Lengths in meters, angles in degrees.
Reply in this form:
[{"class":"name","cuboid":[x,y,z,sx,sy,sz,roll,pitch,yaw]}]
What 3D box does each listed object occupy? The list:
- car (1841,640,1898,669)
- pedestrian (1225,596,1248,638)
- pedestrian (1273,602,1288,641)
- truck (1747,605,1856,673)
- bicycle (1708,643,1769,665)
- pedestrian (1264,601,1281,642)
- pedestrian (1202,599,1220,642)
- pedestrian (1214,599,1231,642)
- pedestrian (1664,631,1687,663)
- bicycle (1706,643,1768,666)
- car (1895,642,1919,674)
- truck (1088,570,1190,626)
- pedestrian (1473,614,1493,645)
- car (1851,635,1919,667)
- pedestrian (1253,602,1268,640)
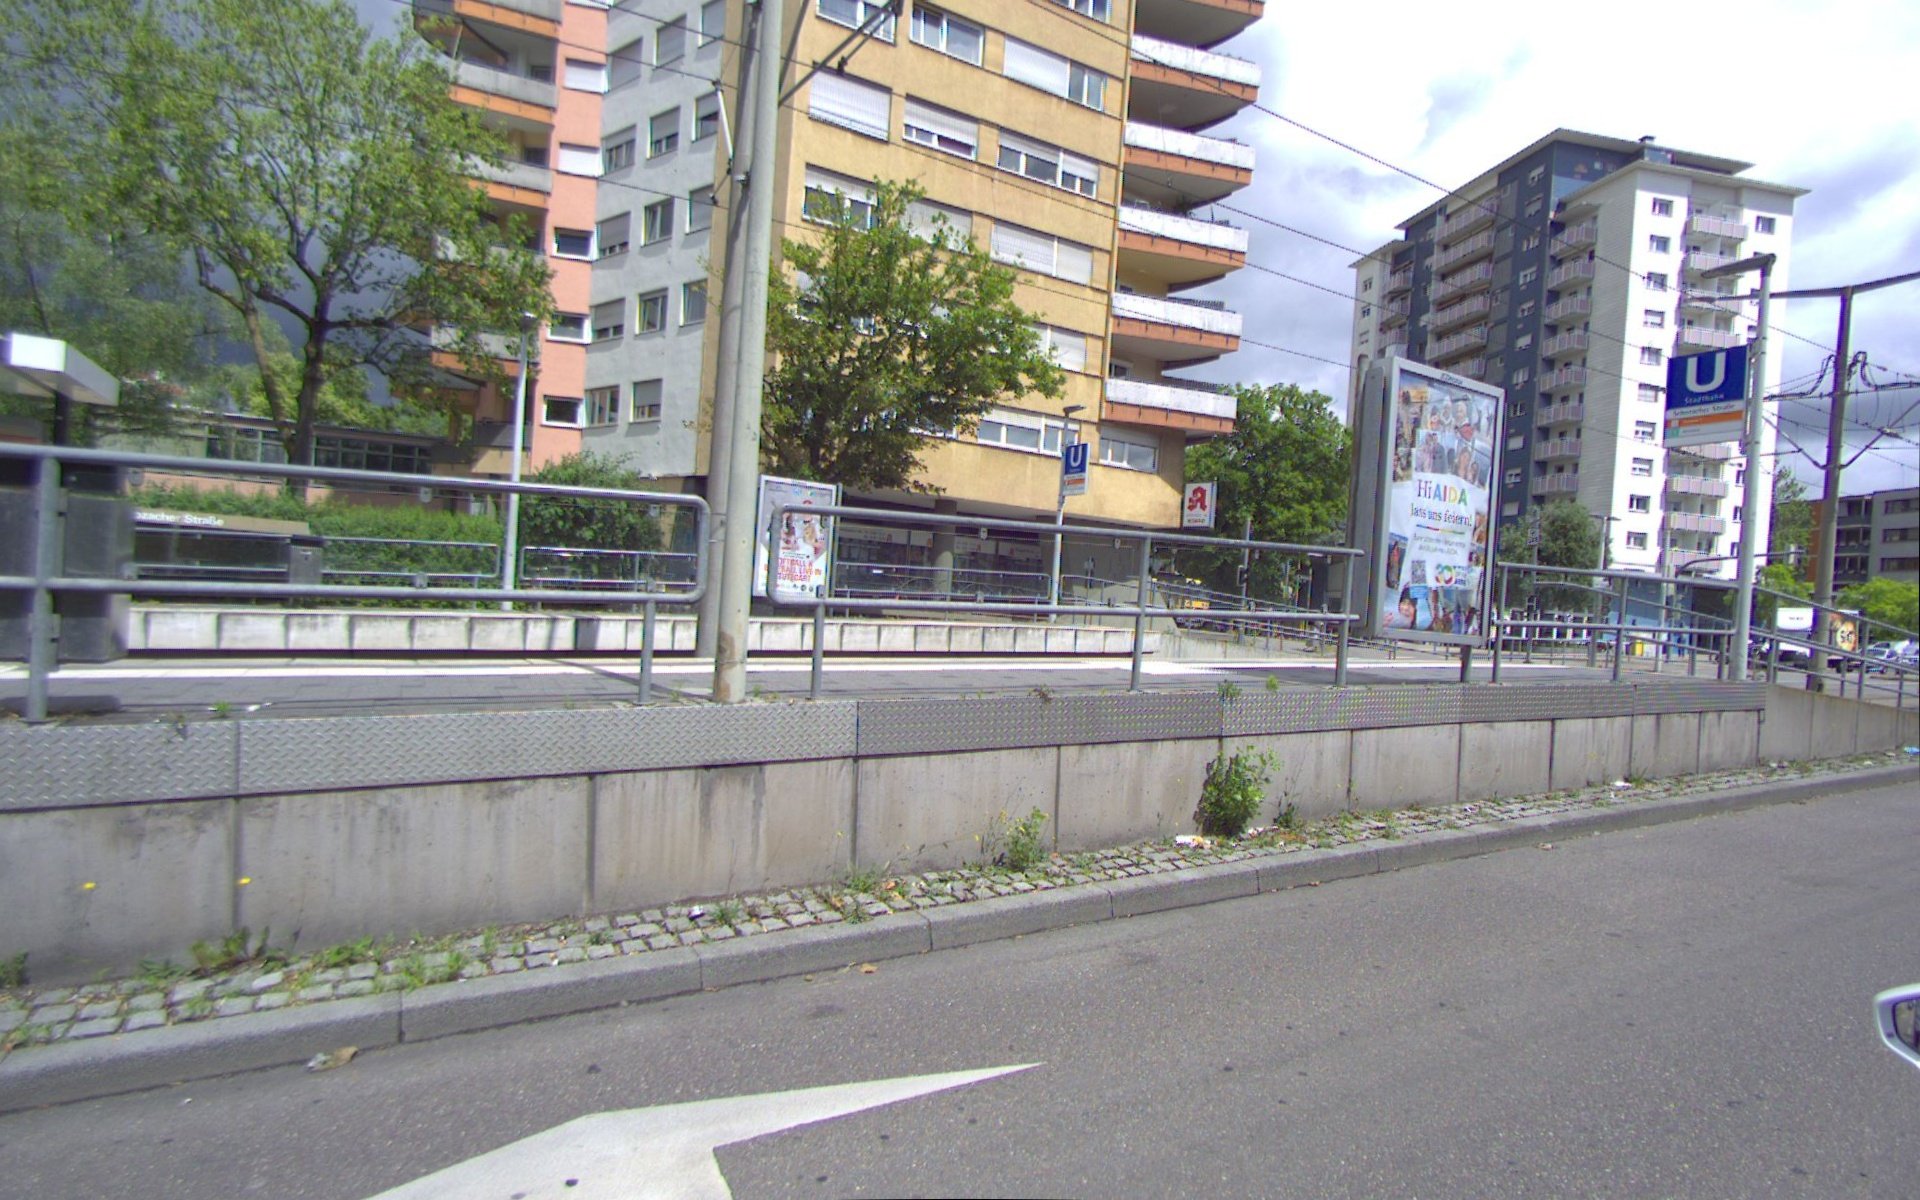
[{"class":"car","cuboid":[50.951,3.061,56.236,3.733,1.480,1.399,2,0,-32]},{"class":"pedestrian","cuboid":[12.030,0.746,43.658,0.657,1.799,0.651,2,0,-39]},{"class":"pedestrian","cuboid":[16.799,1.134,52.643,0.532,2.040,0.559,2,0,39]},{"class":"truck","cuboid":[42.468,1.970,50.615,7.244,3.159,2.267,2,0,-34]},{"class":"bicycle","cuboid":[42.566,2.957,54.990,2.521,1.022,0.754,4,0,33]},{"class":"pedestrian","cuboid":[15.853,1.094,50.994,0.593,2.040,0.558,2,0,38]},{"class":"pedestrian","cuboid":[12.112,0.971,48.441,0.557,2.040,0.534,2,0,-40]},{"class":"pedestrian","cuboid":[12.778,1.008,48.940,0.532,2.040,0.559,2,0,43]},{"class":"pedestrian","cuboid":[47.426,3.109,66.570,0.832,2.040,0.860,2,0,-12]},{"class":"bicycle","cuboid":[41.941,2.929,54.247,2.521,1.022,0.754,4,0,33]},{"class":"car","cuboid":[58.079,3.512,60.480,3.732,1.780,1.583,2,0,-31]},{"class":"truck","cuboid":[7.992,-0.110,45.246,2.323,2.320,4.260,2,0,-29]},{"class":"pedestrian","cuboid":[35.983,2.030,69.086,0.831,2.040,0.861,2,0,-2]},{"class":"car","cuboid":[64.095,3.485,69.022,3.846,2.001,1.657,2,0,18]},{"class":"pedestrian","cuboid":[16.247,1.125,54.271,0.532,2.040,0.559,2,0,40]}]
